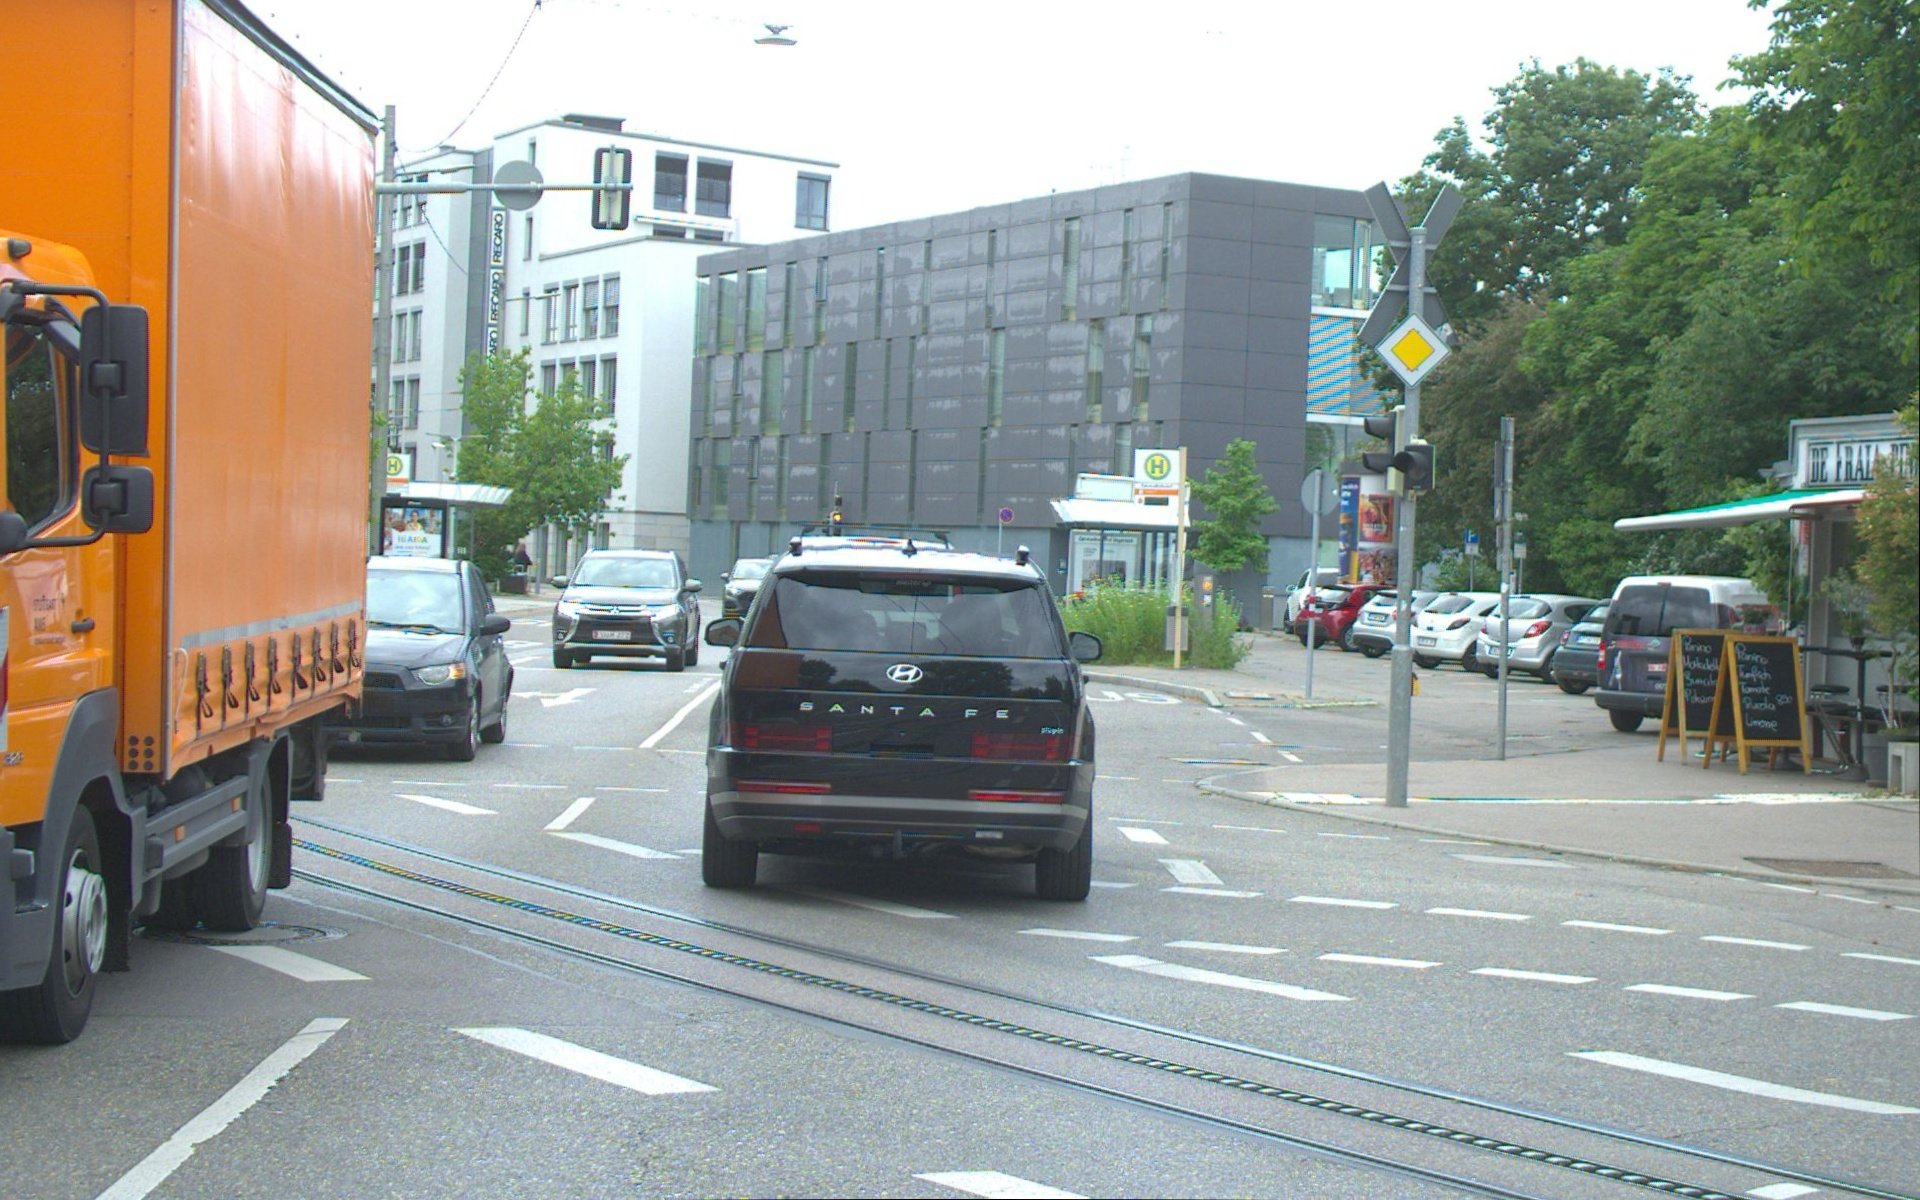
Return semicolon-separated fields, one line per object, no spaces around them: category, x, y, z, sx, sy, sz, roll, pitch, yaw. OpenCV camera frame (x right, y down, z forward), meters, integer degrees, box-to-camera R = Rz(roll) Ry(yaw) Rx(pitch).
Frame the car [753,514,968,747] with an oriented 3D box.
car;-1.020;0.240;33.148;1.855;2.026;4.438;2;1;-3

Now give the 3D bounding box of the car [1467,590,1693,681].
car;10.368;0.598;57.463;3.505;1.373;1.547;1;2;-31

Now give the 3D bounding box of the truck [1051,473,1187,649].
truck;3.380;-0.841;74.599;2.573;3.513;7.810;2;1;1

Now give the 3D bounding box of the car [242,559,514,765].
car;-4.499;0.437;27.020;1.674;1.500;3.734;0;0;-3

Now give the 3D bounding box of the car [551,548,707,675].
car;-4.616;0.137;48.442;1.788;1.656;4.277;2;1;-1

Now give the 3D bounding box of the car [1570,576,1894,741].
car;9.067;0.658;40.128;1.849;1.742;4.685;3;1;37

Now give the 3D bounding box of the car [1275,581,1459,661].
car;8.711;0.456;73.573;3.491;1.450;1.681;4;0;-28

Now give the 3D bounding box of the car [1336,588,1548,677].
car;9.595;0.652;68.399;3.790;1.468;1.798;5;-1;-30

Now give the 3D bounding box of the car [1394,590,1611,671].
car;9.845;0.563;62.364;3.638;1.430;1.592;1;0;-27

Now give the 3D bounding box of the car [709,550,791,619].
car;-4.980;-0.378;81.813;1.739;1.554;4.184;2;0;-1

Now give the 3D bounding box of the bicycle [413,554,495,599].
bicycle;-13.903;-0.658;94.457;2.099;1.102;0.631;4;0;2

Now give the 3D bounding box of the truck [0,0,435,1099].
truck;-3.927;-0.541;13.382;2.768;3.706;8.469;0;0;-2

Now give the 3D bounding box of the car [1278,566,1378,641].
car;9.416;0.087;88.243;1.993;1.831;4.518;1;0;-1

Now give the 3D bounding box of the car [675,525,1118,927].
car;-0.394;0.554;17.870;1.915;1.719;4.171;4;1;-3

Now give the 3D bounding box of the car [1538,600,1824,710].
car;10.933;0.841;52.077;3.987;1.472;1.880;3;0;-32
